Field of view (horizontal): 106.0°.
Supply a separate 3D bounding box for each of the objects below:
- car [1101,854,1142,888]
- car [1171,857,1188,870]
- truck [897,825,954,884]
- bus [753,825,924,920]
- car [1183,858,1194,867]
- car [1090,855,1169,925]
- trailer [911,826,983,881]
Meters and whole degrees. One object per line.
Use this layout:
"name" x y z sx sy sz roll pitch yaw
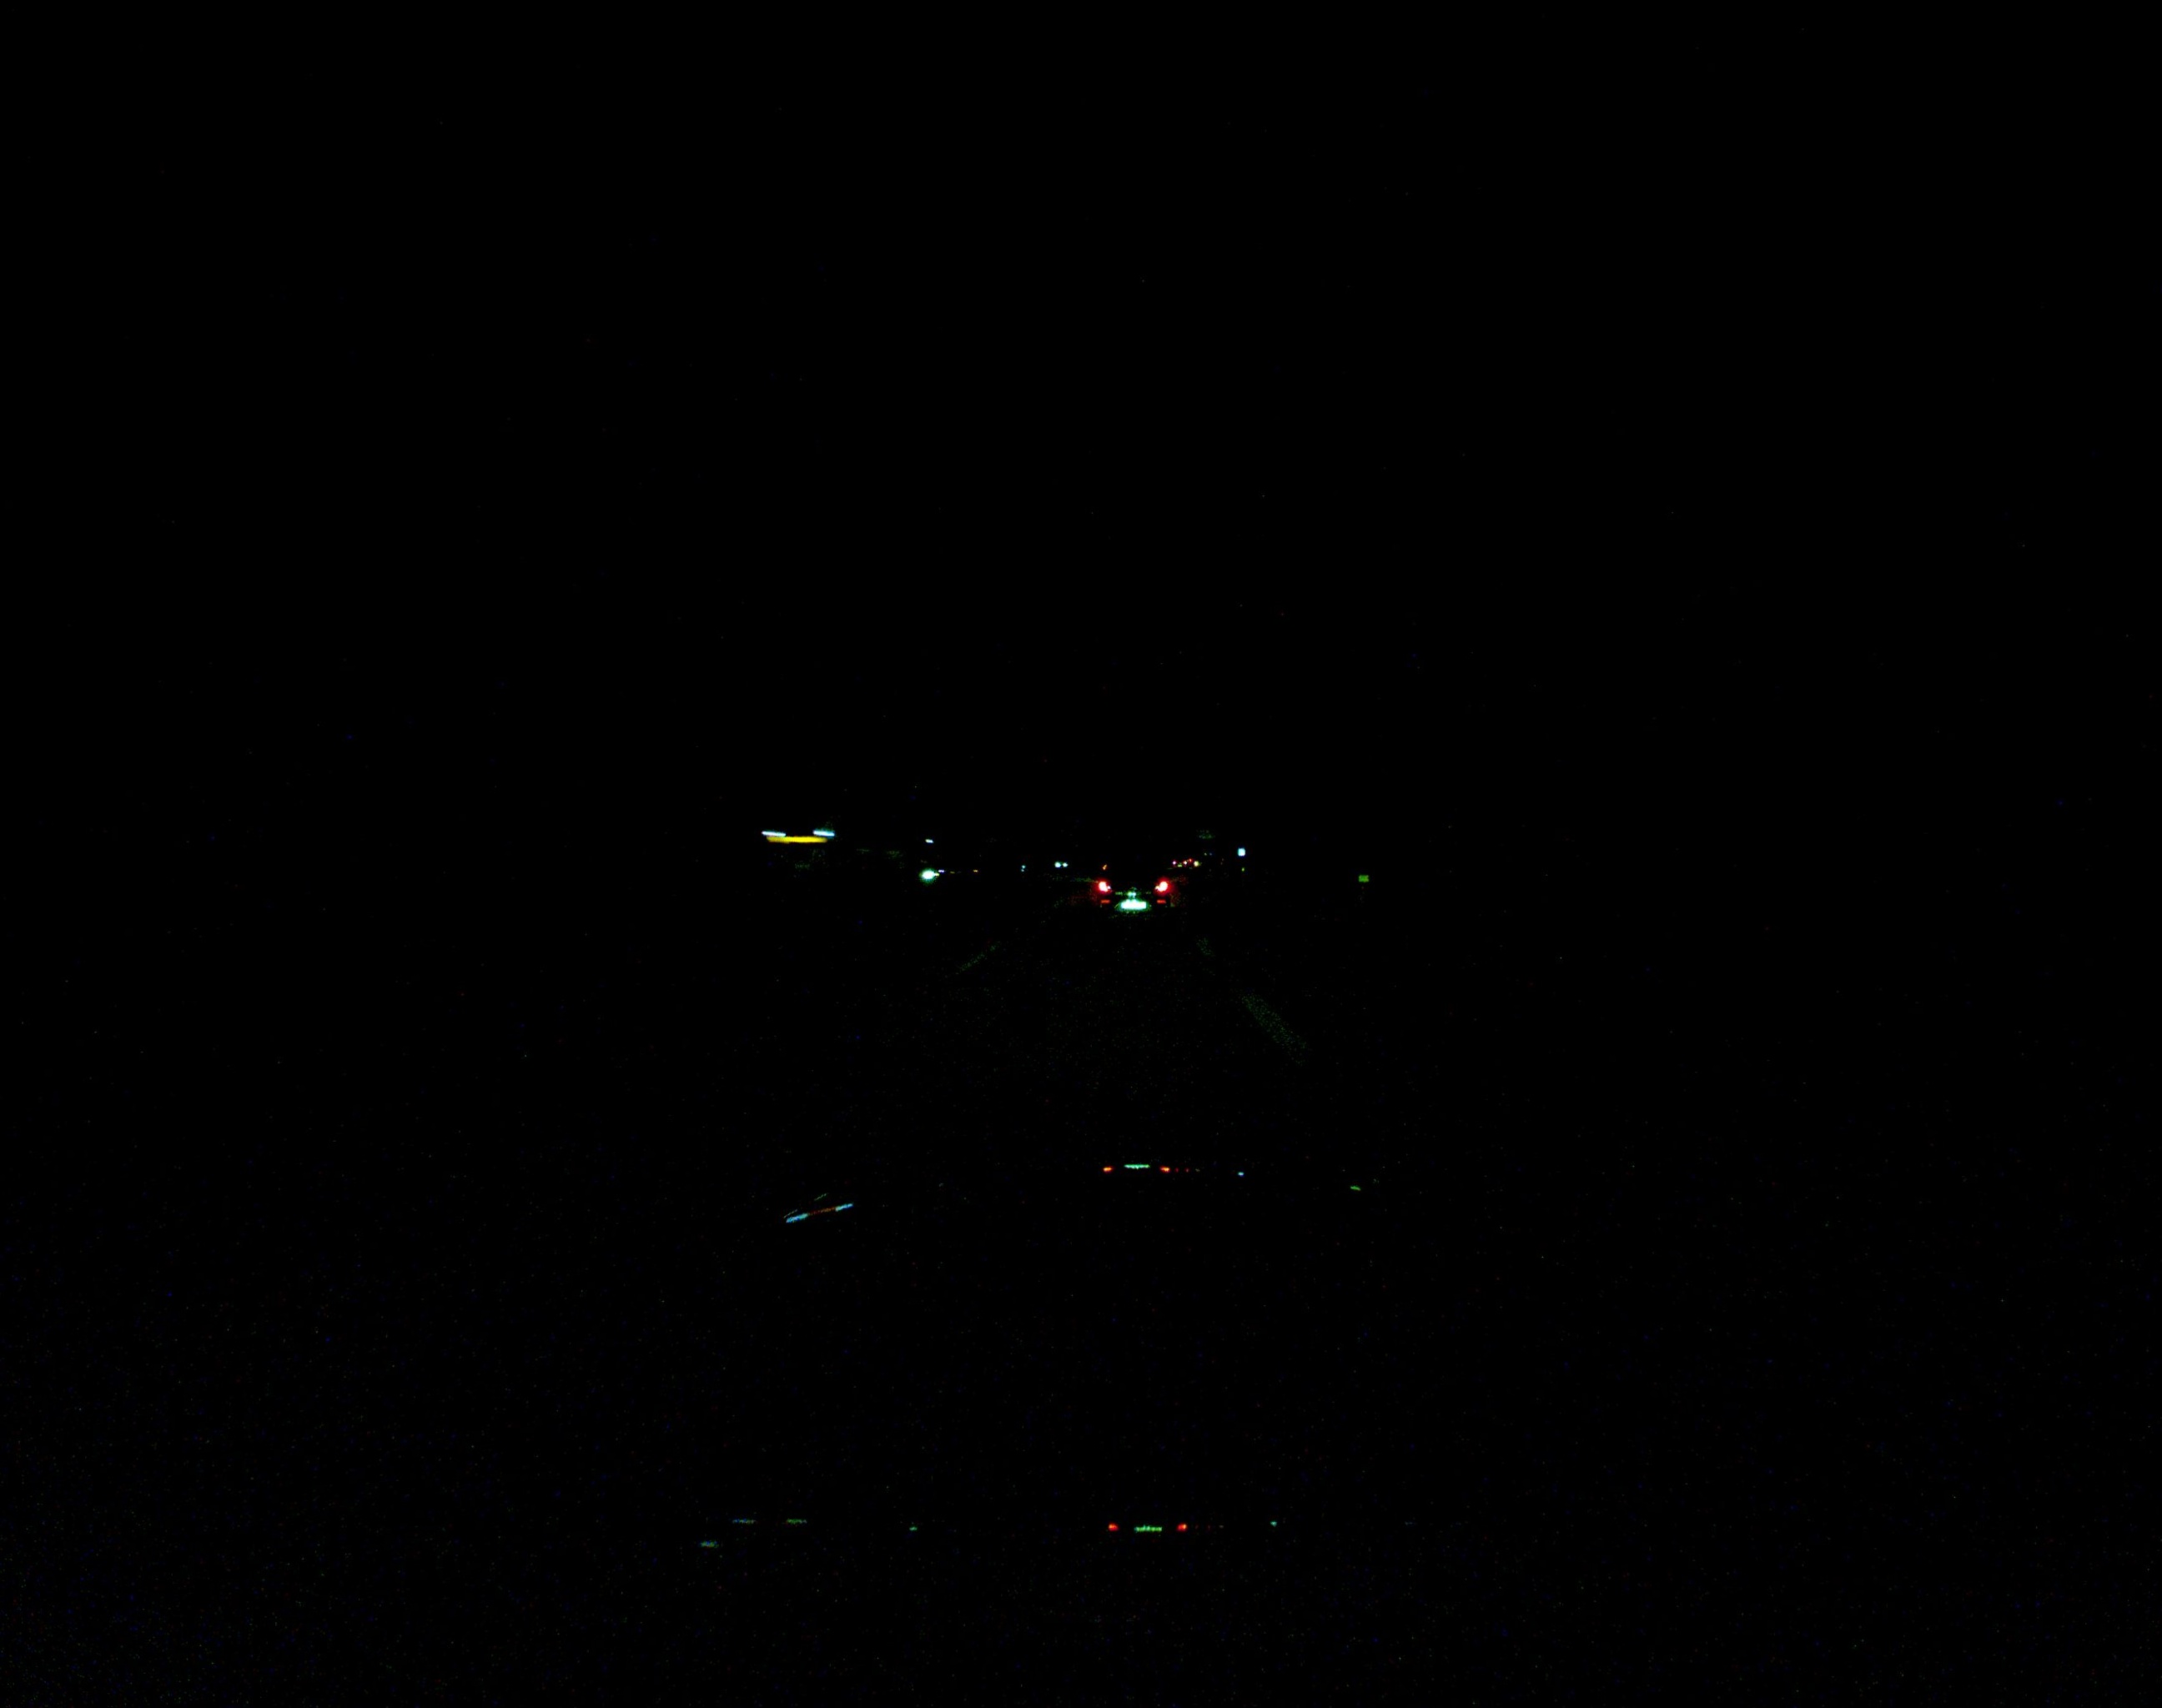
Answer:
"car" 2.026 0.807 40.893 1.932 1.608 4.647 -1 0 3
"car" 12.338 1.184 102.235 1.727 1.618 3.799 -1 -1 2
"truck" -11.665 0.044 61.635 2.664 4.177 5.875 -1 0 5
"bus" -9.978 0.649 35.665 2.910 3.387 12.321 -1 0 4
"car" 22.108 1.759 167.503 1.943 1.538 4.245 -6 -2 4
"car" 1.153 0.782 19.382 1.684 1.478 4.003 -1 0 3
"trailer" -11.010 -0.019 68.793 2.663 4.150 13.763 -1 0 5
